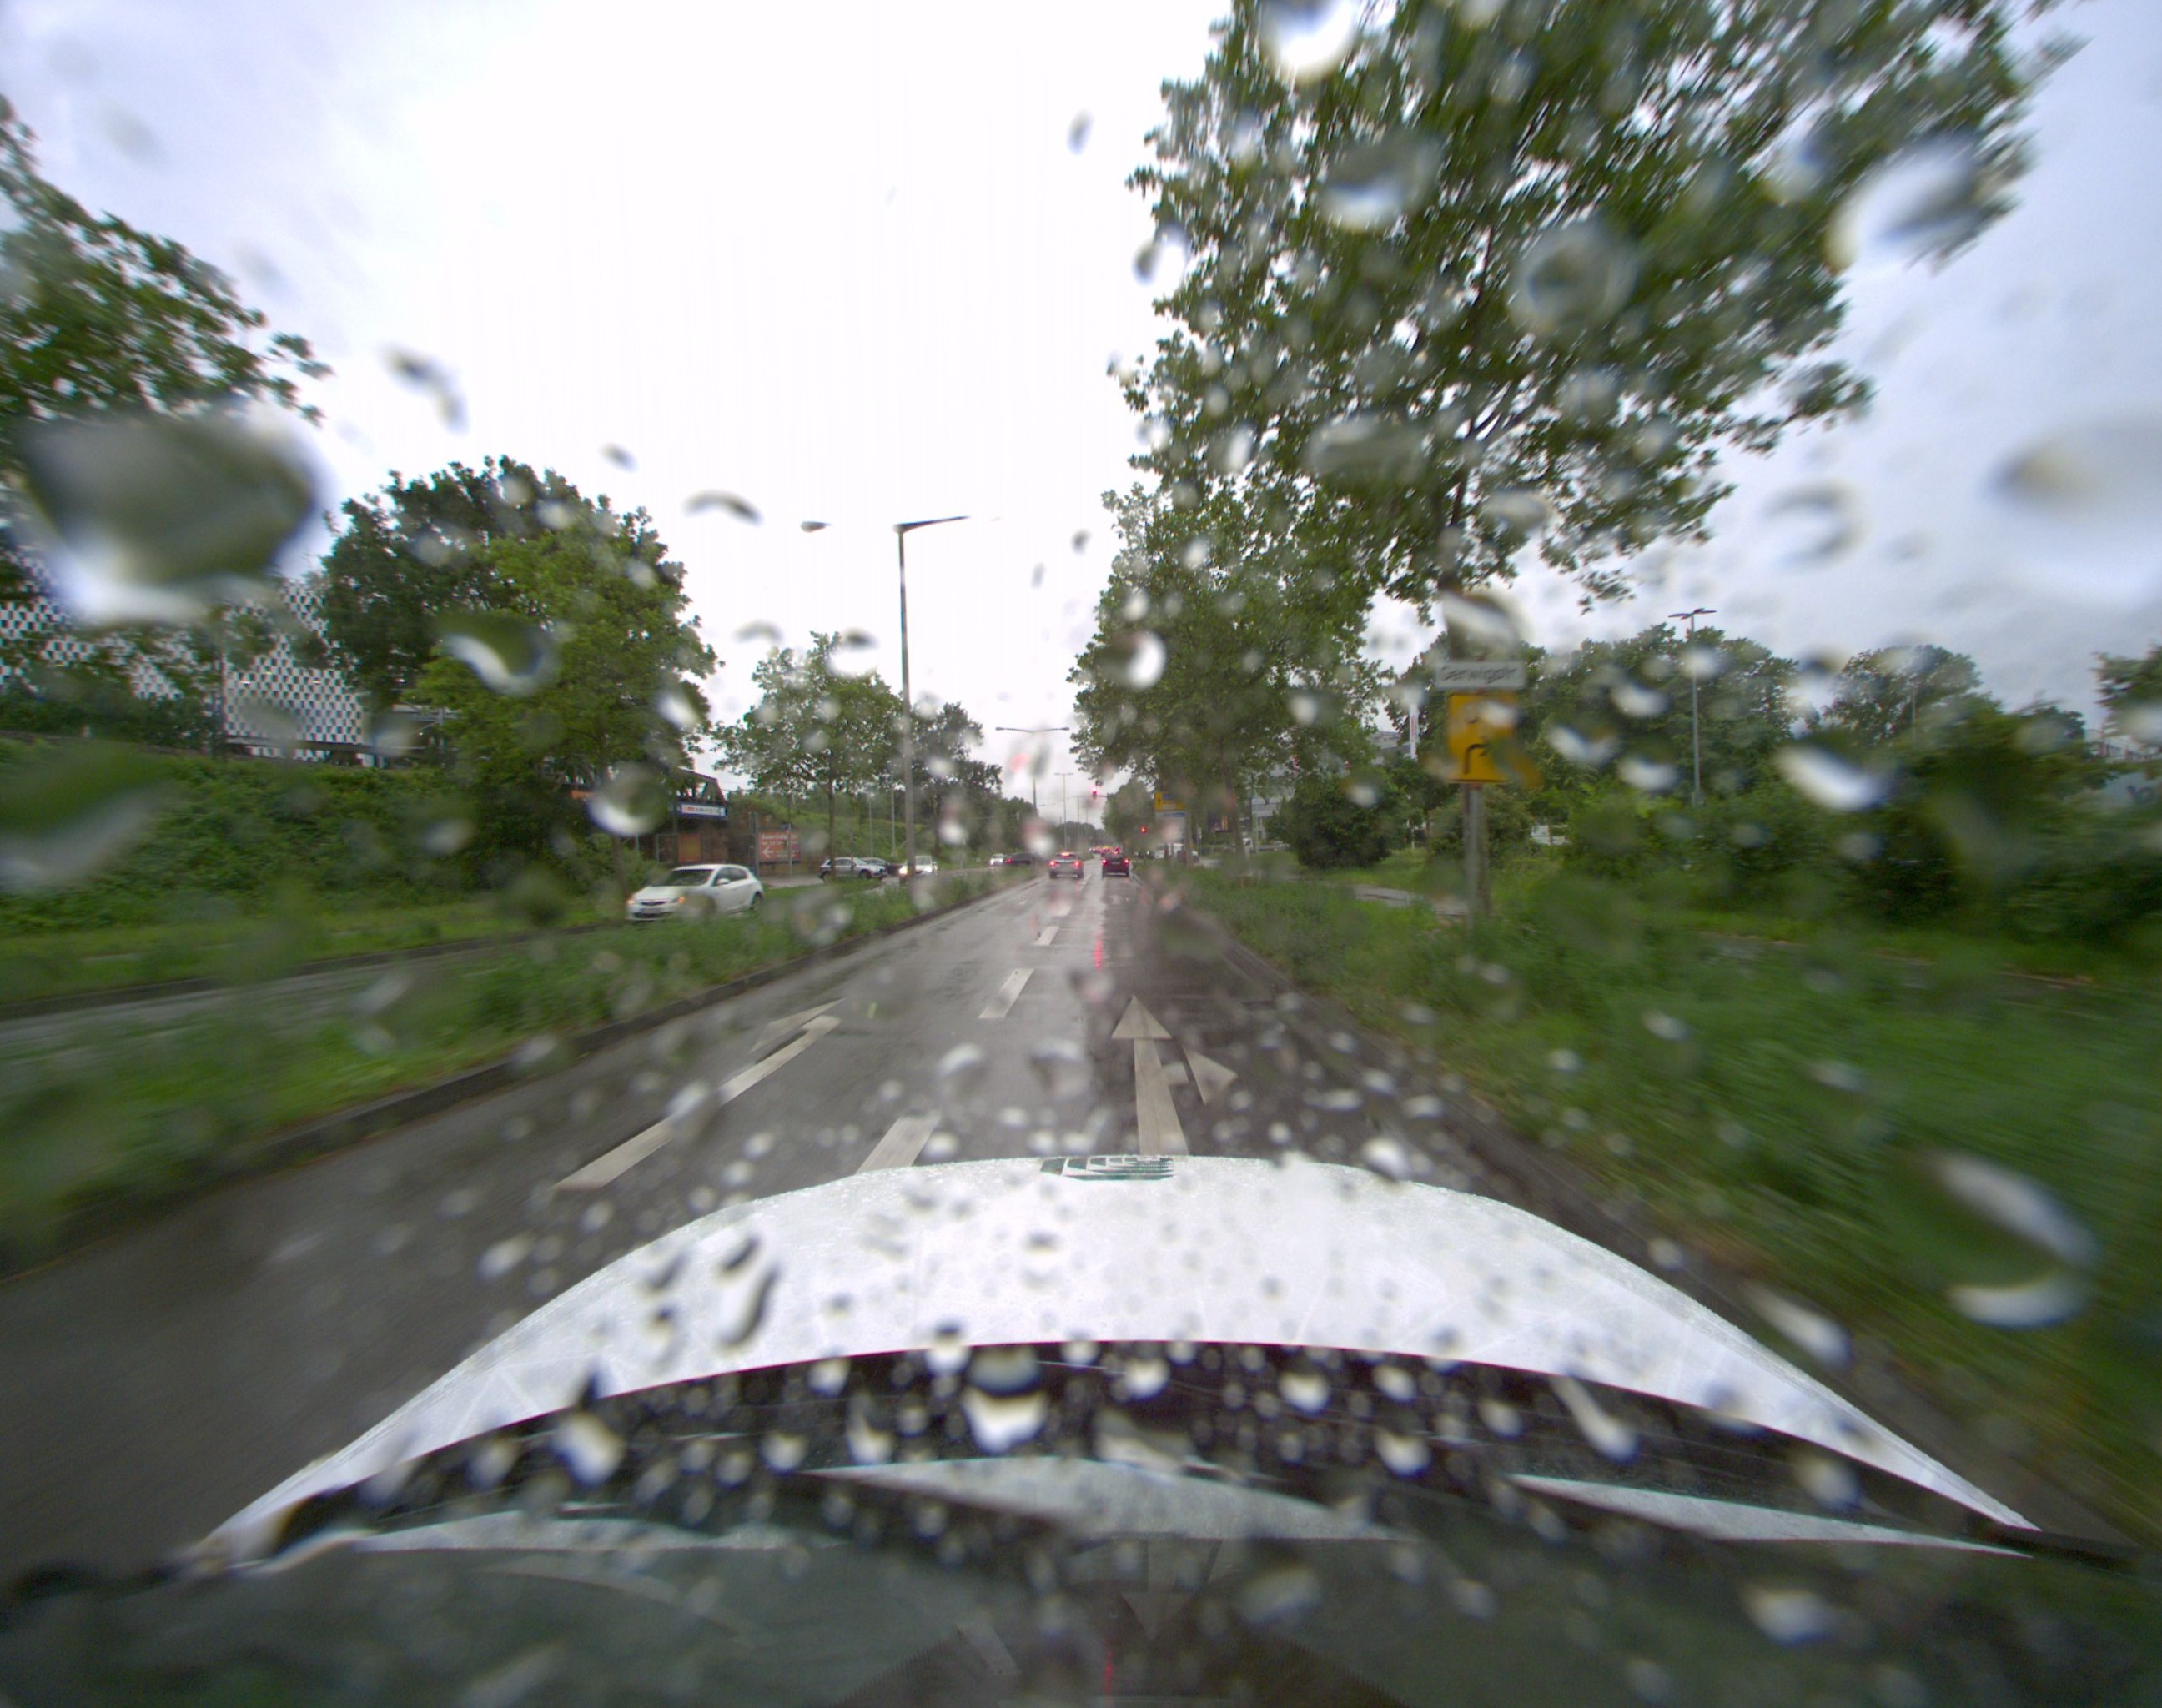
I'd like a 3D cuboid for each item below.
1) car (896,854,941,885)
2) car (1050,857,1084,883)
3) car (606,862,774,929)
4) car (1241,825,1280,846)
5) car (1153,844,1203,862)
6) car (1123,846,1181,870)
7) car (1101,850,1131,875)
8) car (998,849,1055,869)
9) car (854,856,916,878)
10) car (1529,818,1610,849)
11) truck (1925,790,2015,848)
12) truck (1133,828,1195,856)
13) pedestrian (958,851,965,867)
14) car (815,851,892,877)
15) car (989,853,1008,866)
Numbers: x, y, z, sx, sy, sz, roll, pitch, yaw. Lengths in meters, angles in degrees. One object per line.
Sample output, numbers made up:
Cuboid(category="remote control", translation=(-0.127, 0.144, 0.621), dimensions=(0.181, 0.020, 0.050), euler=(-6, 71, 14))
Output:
Cuboid(category="car", translation=(-8.975, 0.839, 45.261), dimensions=(1.853, 1.589, 4.512), euler=(-2, 0, -4))
Cuboid(category="car", translation=(-0.778, 0.899, 47.394), dimensions=(1.683, 1.433, 4.576), euler=(-1, 0, 2))
Cuboid(category="car", translation=(-9.803, 0.974, 20.910), dimensions=(1.923, 1.445, 4.659), euler=(-1, 0, 2))
Cuboid(category="car", translation=(21.284, -2.152, 96.468), dimensions=(4.404, 2.190, 1.783), euler=(-4, 1, -33))
Cuboid(category="car", translation=(9.048, -0.090, 75.820), dimensions=(4.397, 1.537, 1.786), euler=(-2, 0, -27))
Cuboid(category="car", translation=(5.567, 0.303, 63.646), dimensions=(4.409, 1.537, 1.782), euler=(-4, 3, -38))
Cuboid(category="car", translation=(2.200, 0.505, 51.330), dimensions=(1.789, 1.537, 4.389), euler=(0, 0, 2))
Cuboid(category="car", translation=(-4.581, 0.397, 68.724), dimensions=(4.397, 1.537, 1.786), euler=(-1, 0, -27))
Cuboid(category="car", translation=(-15.212, 0.960, 63.172), dimensions=(4.397, 1.537, 1.786), euler=(-2, 0, -27))
Cuboid(category="car", translation=(36.639, -1.475, 61.203), dimensions=(1.815, 2.153, 4.860), euler=(-1, 0, -38))
Cuboid(category="truck", translation=(63.740, -2.425, 58.345), dimensions=(8.991, 3.810, 2.972), euler=(-1, 0, -34))
Cuboid(category="truck", translation=(9.557, -1.395, 93.363), dimensions=(7.079, 3.054, 2.618), euler=(-2, 0, -35))
Cuboid(category="pedestrian", translation=(-13.127, 0.578, 89.464), dimensions=(0.528, 1.786, 0.676), euler=(0, -1, 19))
Cuboid(category="car", translation=(-15.057, 0.645, 53.925), dimensions=(4.480, 1.589, 1.866), euler=(-2, 0, 7))
Cuboid(category="car", translation=(-9.961, 0.634, 98.536), dimensions=(1.706, 1.530, 4.002), euler=(-2, 0, 2))
